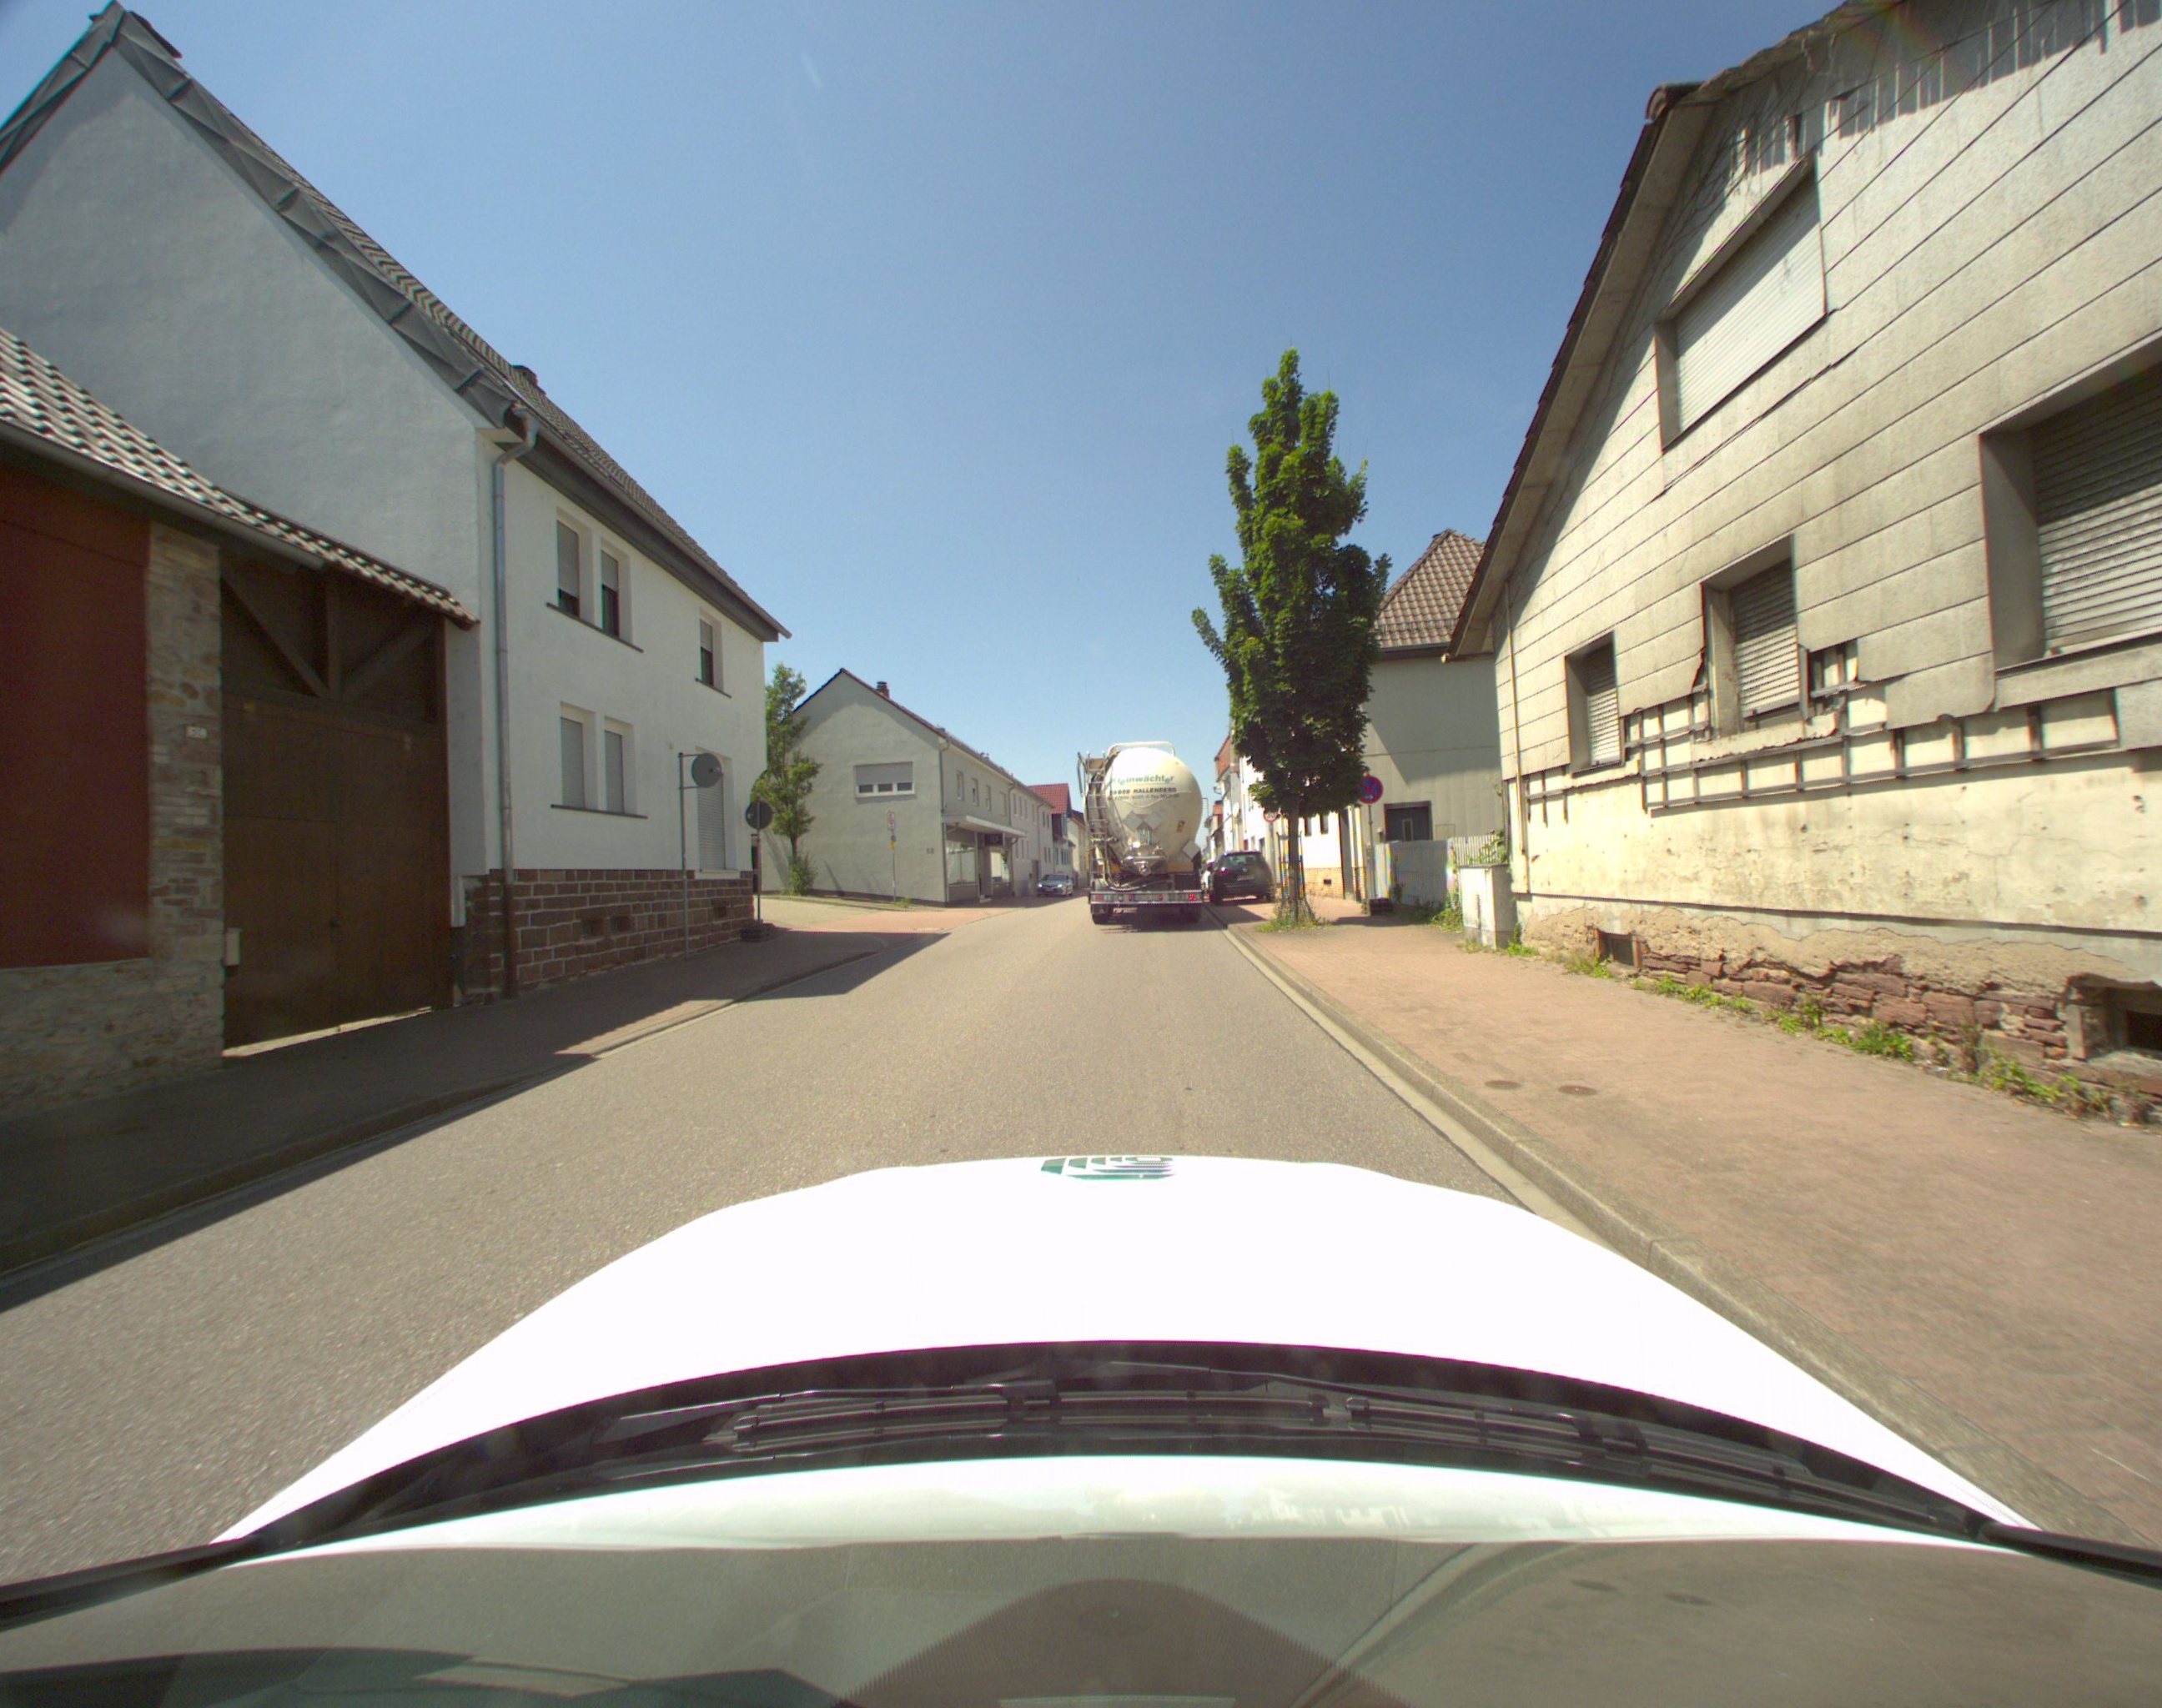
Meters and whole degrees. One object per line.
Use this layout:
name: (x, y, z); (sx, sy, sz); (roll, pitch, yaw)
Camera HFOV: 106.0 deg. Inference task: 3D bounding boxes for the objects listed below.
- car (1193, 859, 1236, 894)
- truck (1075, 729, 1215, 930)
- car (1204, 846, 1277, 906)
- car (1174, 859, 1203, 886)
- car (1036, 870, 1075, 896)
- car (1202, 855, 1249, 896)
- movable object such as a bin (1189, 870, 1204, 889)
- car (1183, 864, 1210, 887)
car: (6.531, 1.107, 40.264); (1.692, 1.447, 4.843); (-6, -2, 6)
truck: (1.630, -0.403, 20.296); (2.719, 3.960, 8.152); (-1, -1, 5)
car: (5.013, 0.666, 26.151); (1.793, 1.614, 4.555); (-5, -1, 6)
car: (8.631, 1.481, 66.005); (1.937, 1.970, 4.789); (-3, -2, 4)
car: (-1.560, 1.785, 50.638); (1.799, 1.557, 4.572); (-1, -2, 6)
car: (6.124, 0.910, 34.859); (1.599, 1.522, 3.550); (-6, -2, 6)
movable object such as a bin: (6.822, 1.519, 47.959); (0.650, 1.035, 0.688); (-5, -2, 21)
car: (8.186, 1.525, 58.054); (1.761, 1.466, 4.585); (-4, -2, 6)
